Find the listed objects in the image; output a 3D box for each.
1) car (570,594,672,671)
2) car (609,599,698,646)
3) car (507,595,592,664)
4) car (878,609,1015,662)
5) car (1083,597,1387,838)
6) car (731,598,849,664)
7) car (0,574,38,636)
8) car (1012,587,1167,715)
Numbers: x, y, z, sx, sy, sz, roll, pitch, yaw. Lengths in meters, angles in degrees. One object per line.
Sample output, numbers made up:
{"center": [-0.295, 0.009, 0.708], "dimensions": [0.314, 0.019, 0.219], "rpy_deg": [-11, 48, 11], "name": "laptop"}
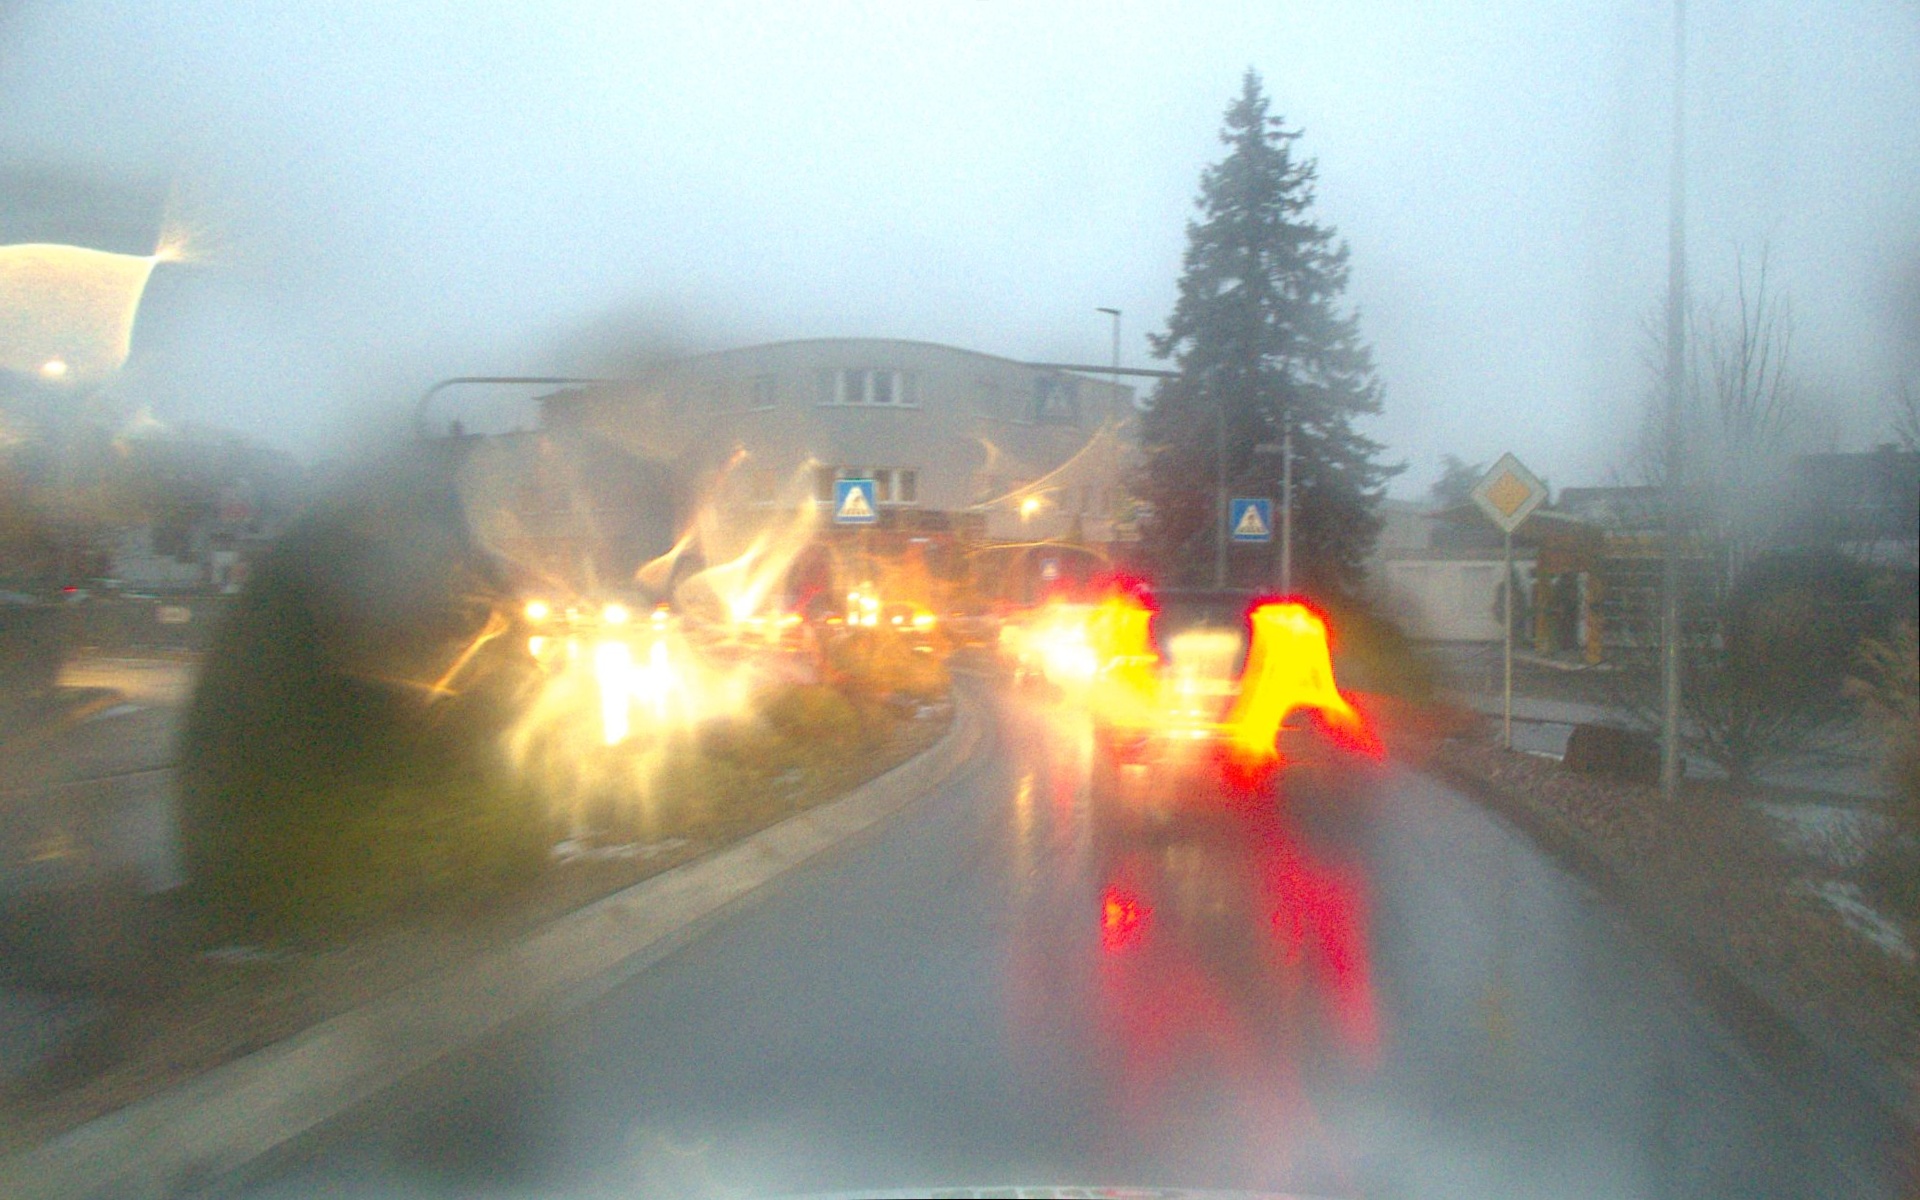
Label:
{"center": [-10.289, 0.924, 49.969], "dimensions": [2.134, 2.096, 4.539], "rpy_deg": [0, 1, -23], "name": "car"}
{"center": [-10.978, 0.811, 58.976], "dimensions": [1.861, 1.575, 4.527], "rpy_deg": [0, -1, -28], "name": "car"}
{"center": [-13.643, 0.926, 54.771], "dimensions": [2.133, 2.096, 4.541], "rpy_deg": [0, 1, -22], "name": "car"}
{"center": [-0.399, 1.127, 54.180], "dimensions": [1.875, 1.599, 4.542], "rpy_deg": [2, 1, 43], "name": "car"}
{"center": [2.220, 0.878, 14.424], "dimensions": [1.905, 1.748, 3.999], "rpy_deg": [0, 1, -1], "name": "car"}
{"center": [-5.097, 0.882, 49.141], "dimensions": [2.038, 1.747, 4.532], "rpy_deg": [0, 1, -27], "name": "car"}
{"center": [-29.196, 0.151, 47.623], "dimensions": [1.676, 1.778, 4.329], "rpy_deg": [1, 1, 42], "name": "car"}
{"center": [1.984, 0.738, 26.639], "dimensions": [2.119, 1.718, 4.572], "rpy_deg": [-3, 1, 1], "name": "car"}
